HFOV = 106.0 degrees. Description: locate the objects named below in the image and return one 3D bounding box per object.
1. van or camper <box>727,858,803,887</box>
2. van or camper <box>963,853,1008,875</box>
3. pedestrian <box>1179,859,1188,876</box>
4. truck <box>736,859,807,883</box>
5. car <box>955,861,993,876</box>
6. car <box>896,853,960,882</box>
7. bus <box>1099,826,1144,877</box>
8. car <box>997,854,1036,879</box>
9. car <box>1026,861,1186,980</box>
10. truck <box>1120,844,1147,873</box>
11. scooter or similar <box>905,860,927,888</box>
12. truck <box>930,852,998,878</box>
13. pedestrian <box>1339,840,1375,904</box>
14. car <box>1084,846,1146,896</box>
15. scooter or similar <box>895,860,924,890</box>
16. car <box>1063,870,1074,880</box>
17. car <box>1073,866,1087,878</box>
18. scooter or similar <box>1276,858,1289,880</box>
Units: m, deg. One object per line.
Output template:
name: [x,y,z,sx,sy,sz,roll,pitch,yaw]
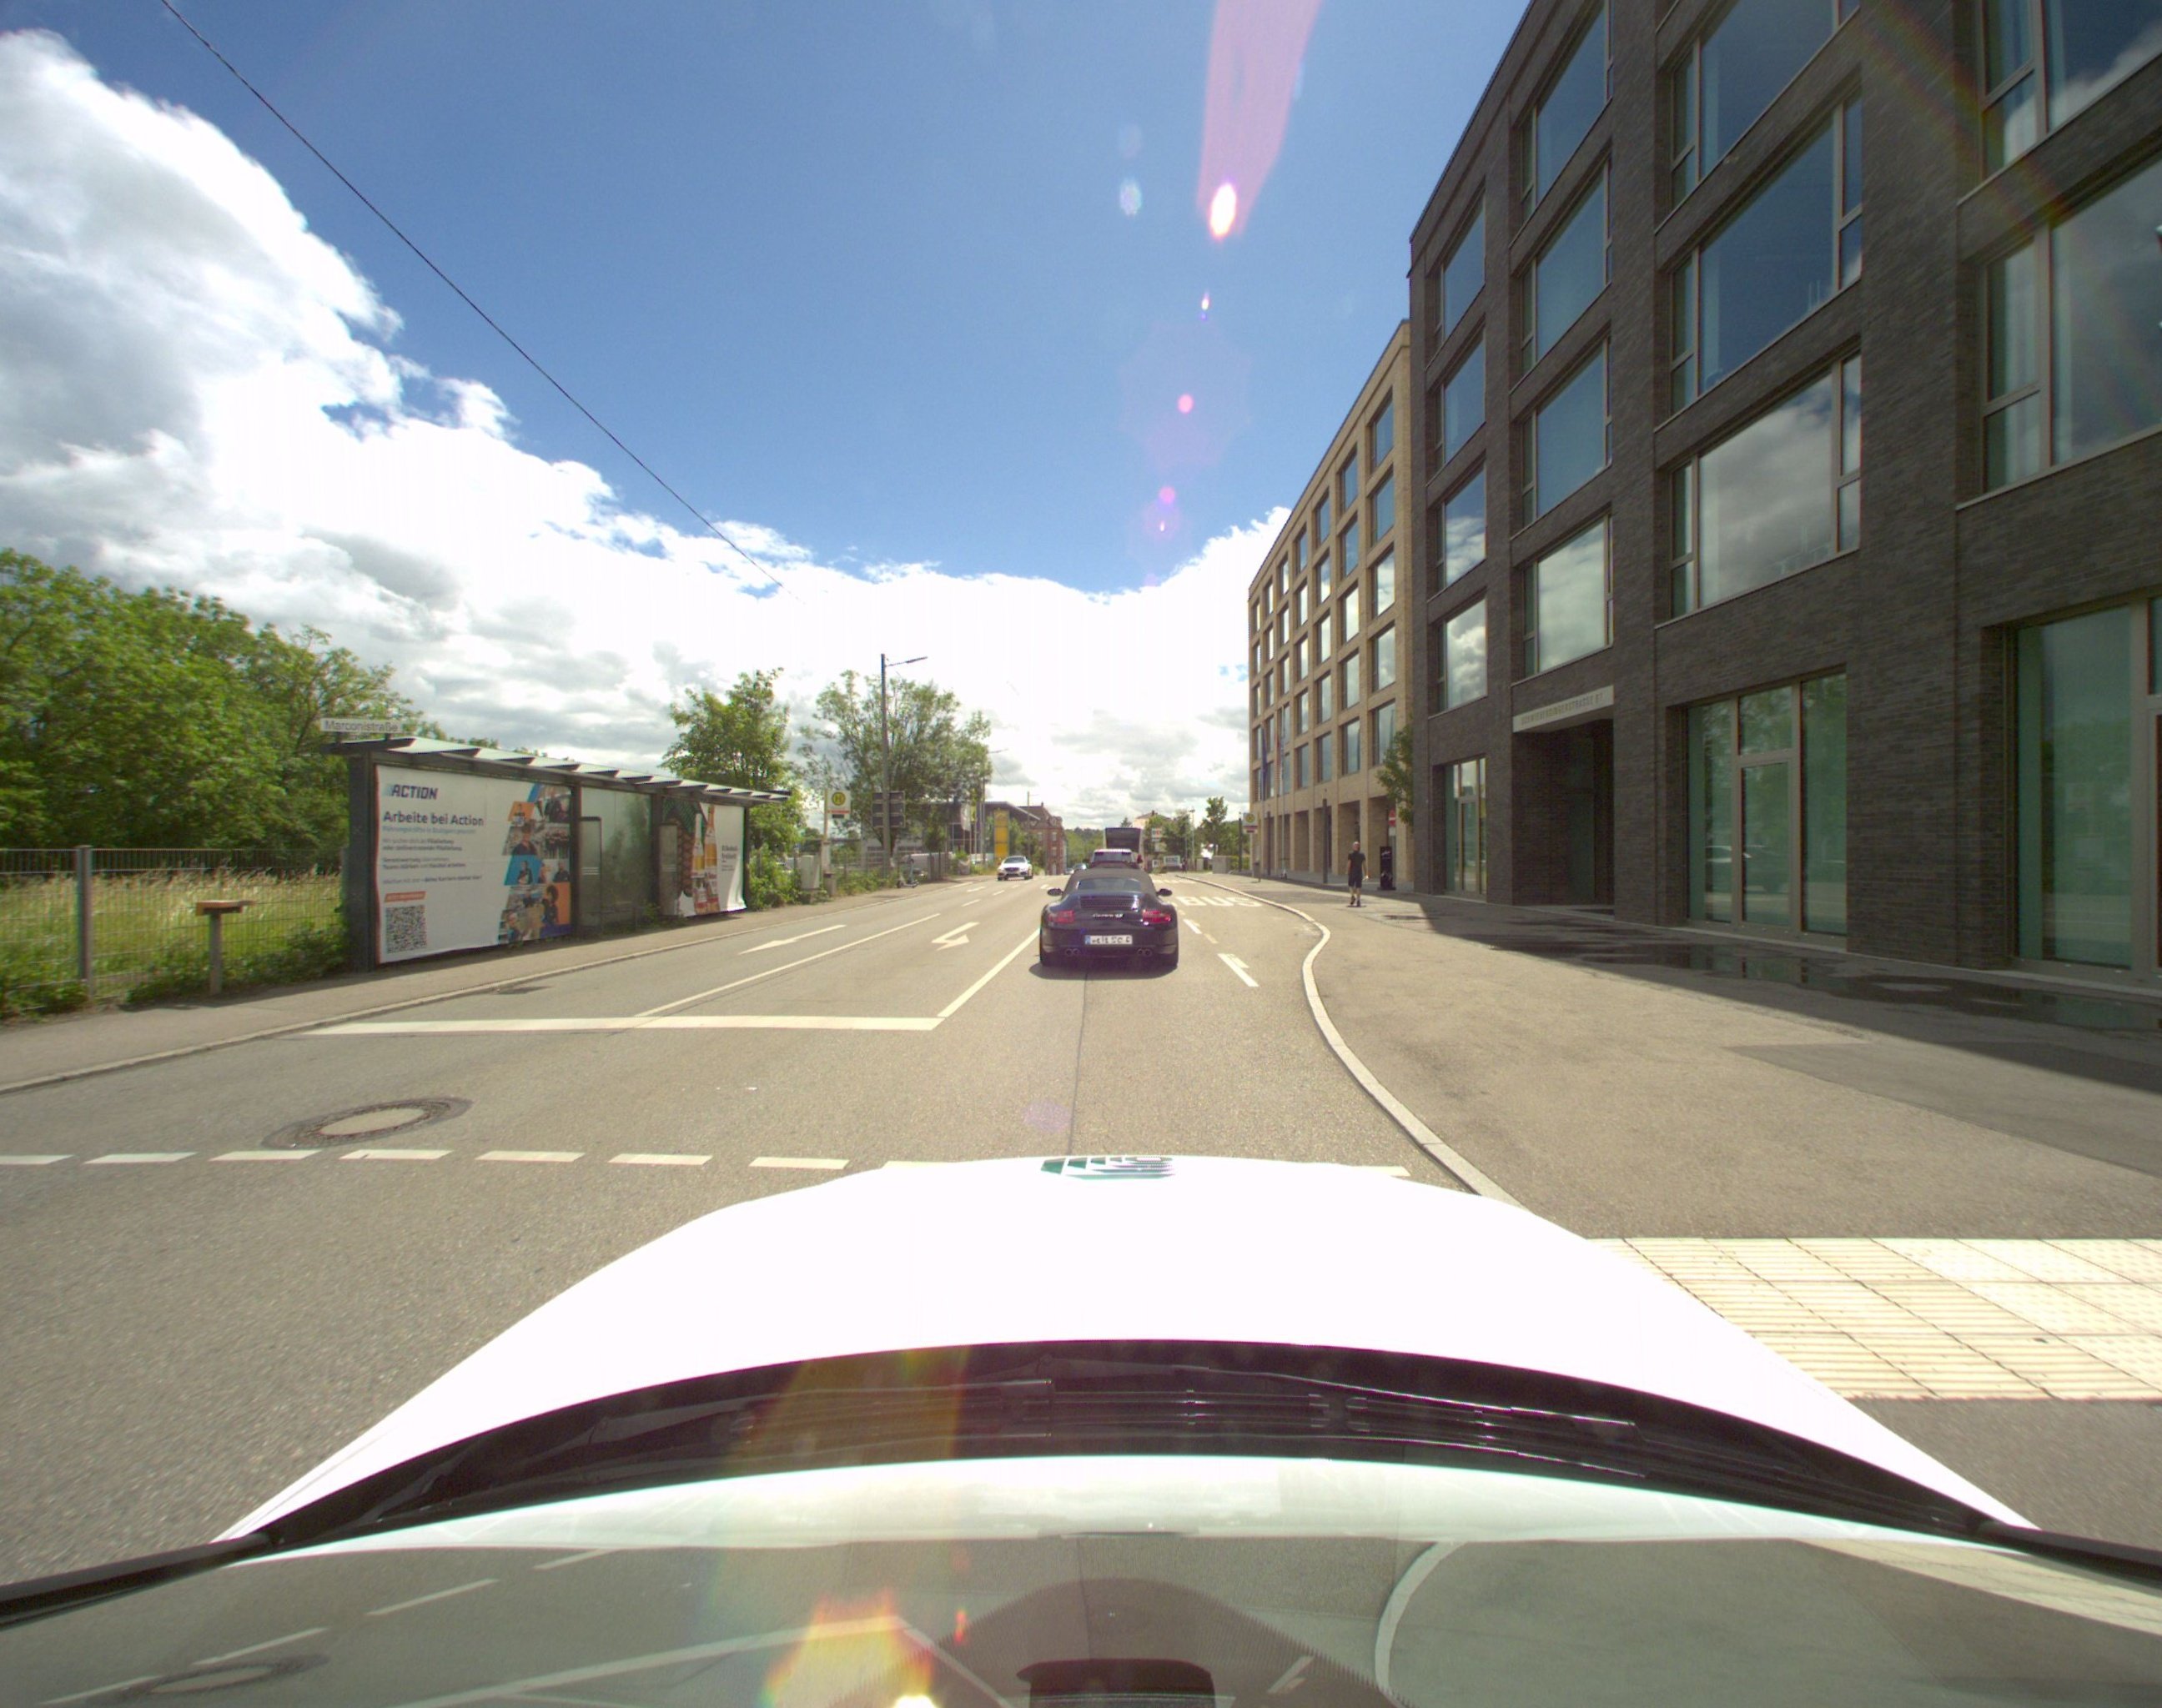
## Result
van or camper: [-27.013,1.530,69.854,5.896,2.355,2.489,-1,0,-17]
van or camper: [-11.127,1.148,95.322,5.009,2.531,2.318,0,0,1]
pedestrian: [9.010,1.176,71.575,0.685,1.536,0.856,-1,-1,1]
truck: [-30.176,1.640,79.660,6.312,2.229,2.684,-1,-2,-19]
car: [-12.171,1.658,92.729,3.966,1.706,2.004,0,0,6]
car: [-10.974,0.940,58.536,4.148,2.013,2.198,0,0,-1]
bus: [2.861,-0.174,56.812,2.790,3.198,12.206,0,0,3]
car: [-3.843,0.741,49.212,1.789,1.376,4.227,-2,0,2]
car: [0.399,0.821,11.912,1.923,1.376,4.211,0,0,3]
truck: [5.847,0.480,91.692,2.703,3.054,7.715,-1,0,1]
scooter or similar: [-7.510,0.891,37.060,0.532,1.266,1.474,1,0,7]
truck: [-10.602,0.994,74.210,5.845,2.148,2.475,-1,-2,-2]
pedestrian: [7.649,0.495,22.609,0.680,1.728,0.962,0,0,1]
car: [1.083,0.530,27.960,1.924,1.583,4.207,0,0,0]
scooter or similar: [-7.470,0.896,35.559,0.530,1.262,1.478,1,0,19]
car: [-2.196,3.763,144.660,1.738,1.595,4.042,-3,-1,0]
car: [-0.133,2.315,104.400,1.823,1.509,4.275,-1,-2,0]
scooter or similar: [11.216,0.832,45.332,0.425,1.153,1.404,-1,-1,1]
